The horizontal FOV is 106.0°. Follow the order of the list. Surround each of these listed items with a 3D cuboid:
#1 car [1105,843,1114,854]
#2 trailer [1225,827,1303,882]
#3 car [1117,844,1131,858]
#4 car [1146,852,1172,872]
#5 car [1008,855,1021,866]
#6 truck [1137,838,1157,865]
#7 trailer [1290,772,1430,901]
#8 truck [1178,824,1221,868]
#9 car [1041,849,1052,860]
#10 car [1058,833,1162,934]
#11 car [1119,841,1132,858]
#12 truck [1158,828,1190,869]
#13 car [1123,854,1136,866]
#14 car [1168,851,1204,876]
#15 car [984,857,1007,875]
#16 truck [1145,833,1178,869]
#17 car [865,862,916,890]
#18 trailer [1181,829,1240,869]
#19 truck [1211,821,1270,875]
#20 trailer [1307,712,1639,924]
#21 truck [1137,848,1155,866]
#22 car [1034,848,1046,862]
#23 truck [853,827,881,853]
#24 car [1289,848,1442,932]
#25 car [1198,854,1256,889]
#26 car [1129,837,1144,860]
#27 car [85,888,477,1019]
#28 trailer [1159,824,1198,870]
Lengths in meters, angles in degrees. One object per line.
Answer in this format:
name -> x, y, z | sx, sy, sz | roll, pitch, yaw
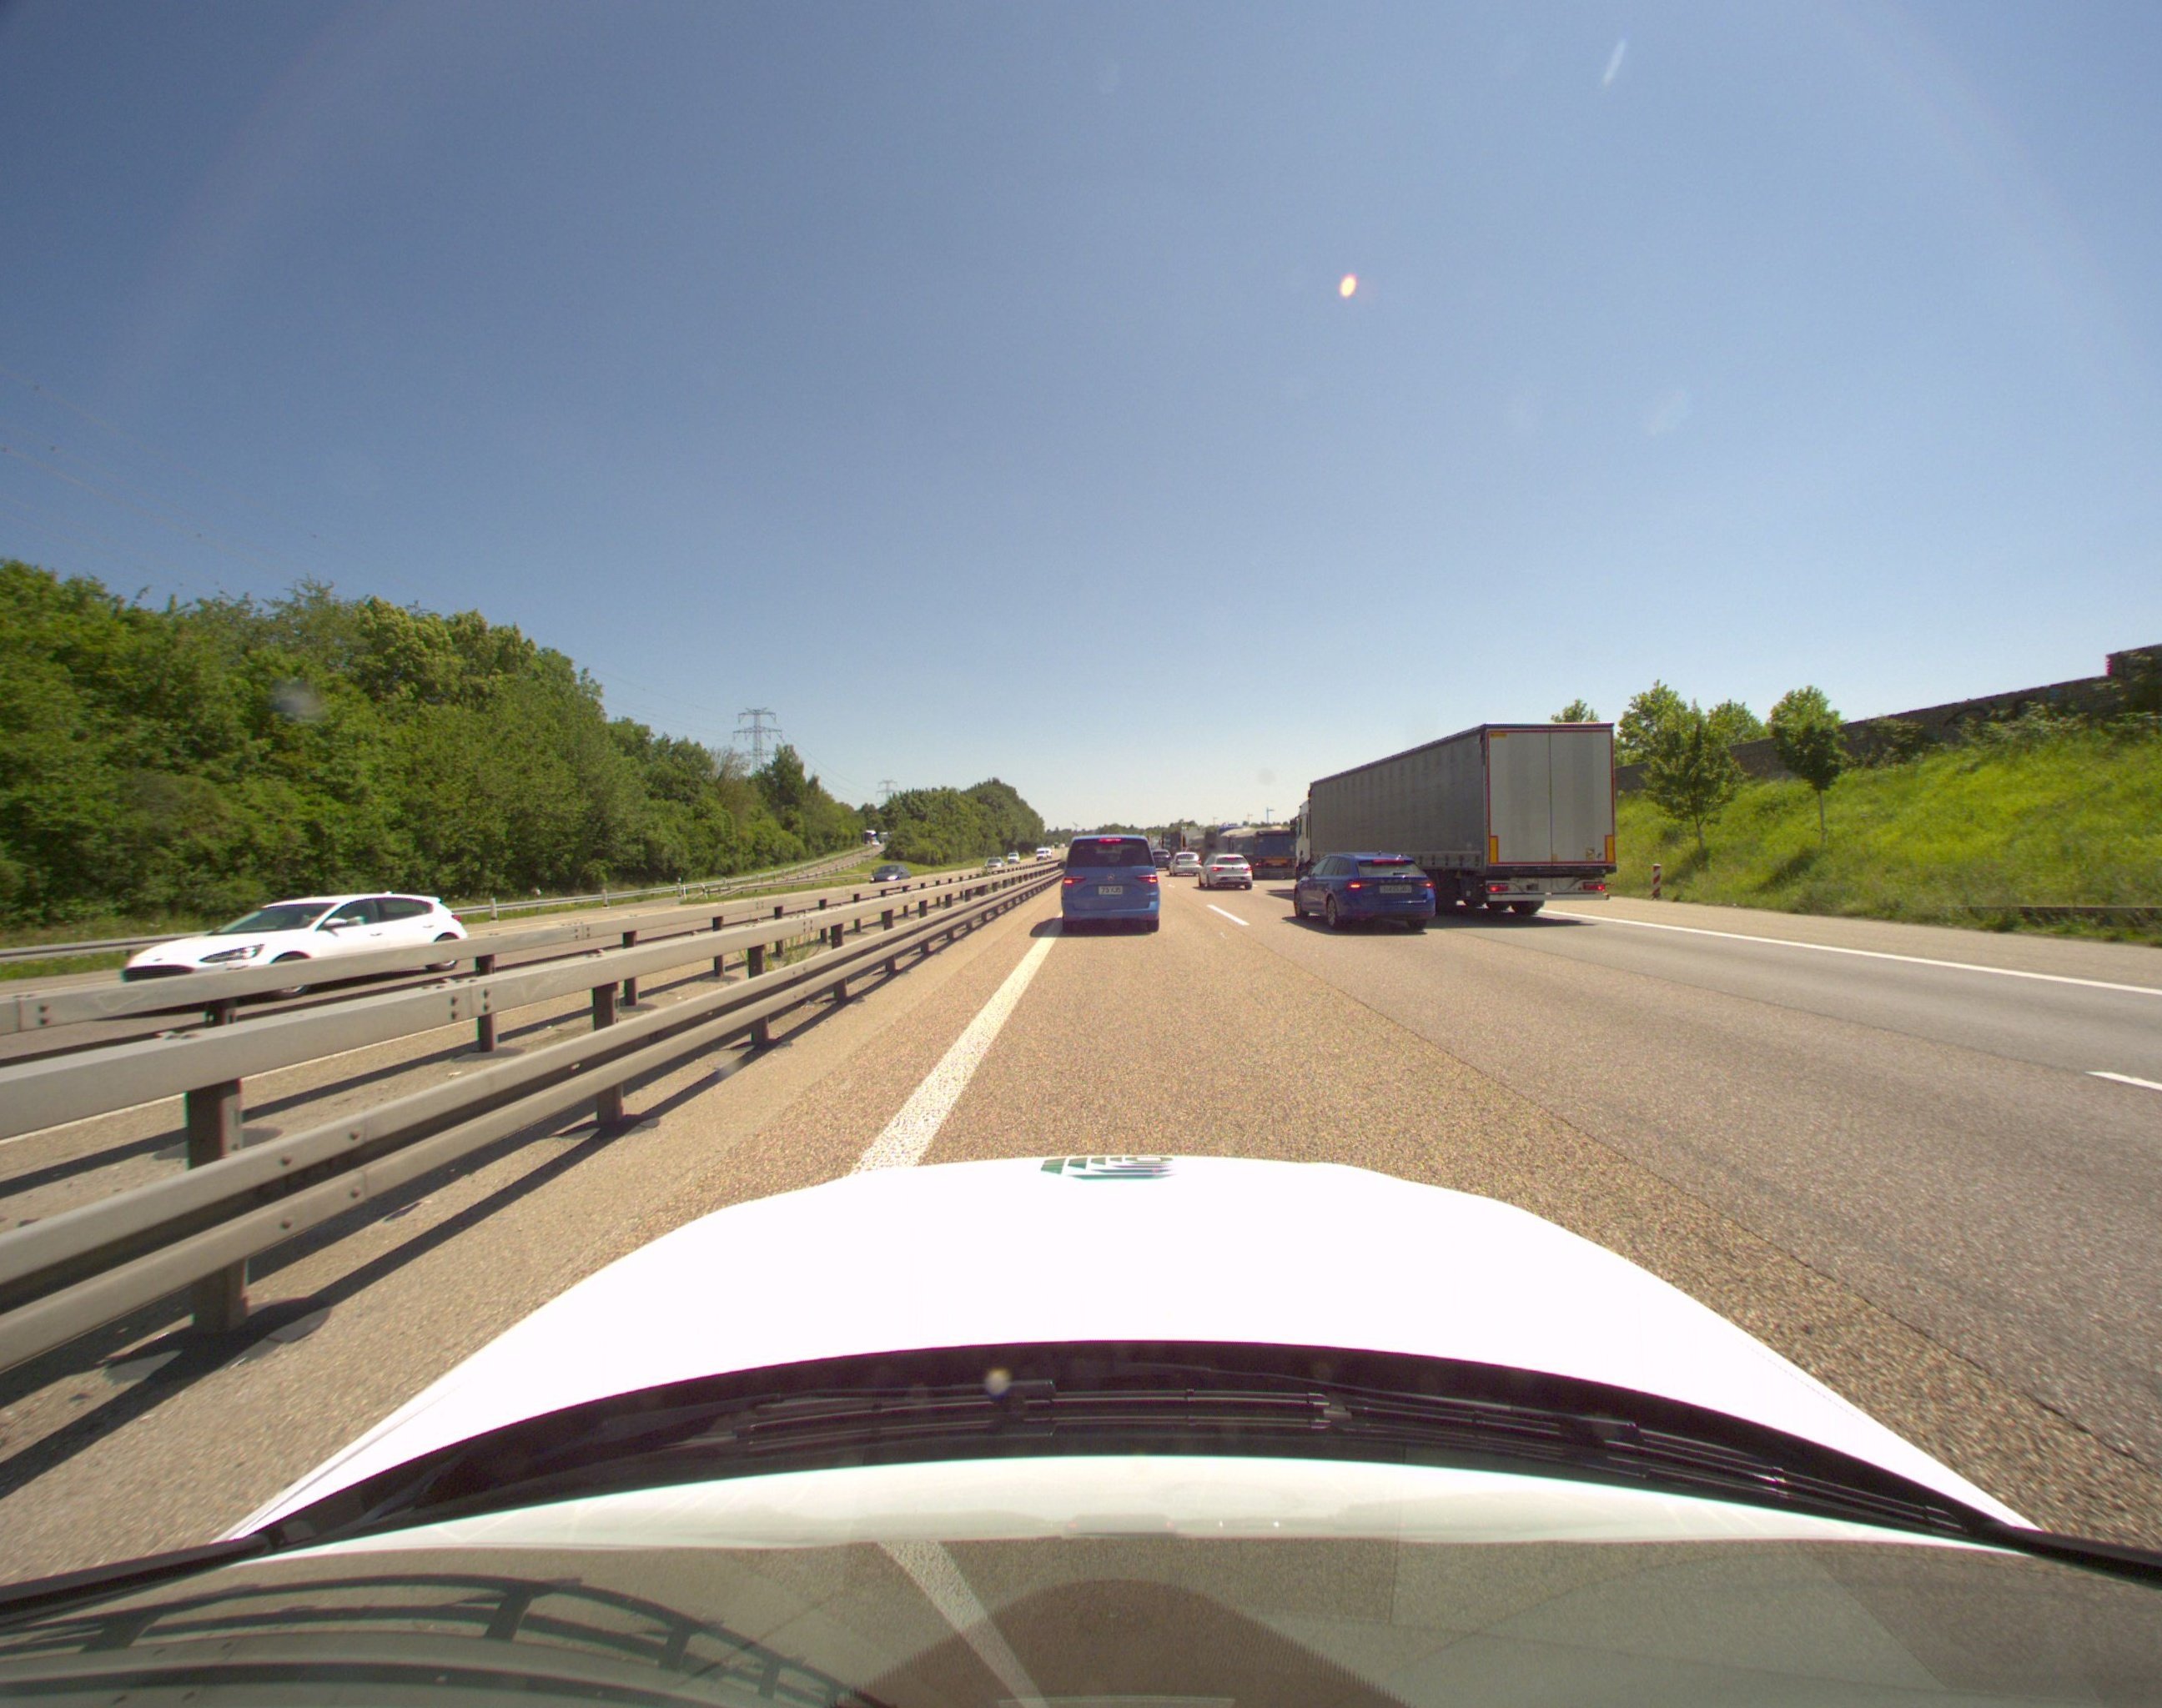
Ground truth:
car -> 9.213, -1.804, 264.266 | 2.479, 3.204, 7.367 | 0, -1, -1
trailer -> 10.242, -0.045, 46.565 | 2.733, 2.836, 9.120 | -1, 1, 2
car -> 8.458, -0.523, 159.113 | 2.541, 2.717, 5.623 | -1, -1, 1
car -> 6.278, 0.621, 65.646 | 1.774, 1.524, 4.001 | -1, -1, 1
car -> -12.163, 1.273, 149.684 | 1.858, 1.904, 5.492 | -4, -1, 0
truck -> 12.404, -0.449, 153.842 | 3.057, 4.920, 10.693 | -1, -1, 1
trailer -> 9.688, -0.582, 29.070 | 2.913, 4.044, 6.413 | -1, 0, 2
truck -> 11.682, -0.701, 81.220 | 3.610, 4.094, 7.530 | -1, -1, 3
car -> -8.542, 0.026, 203.051 | 2.148, 2.594, 5.891 | -3, -1, 1
car -> 0.635, 0.570, 16.984 | 1.893, 1.838, 4.003 | -1, -1, 3
car -> 13.560, -1.329, 247.922 | 3.210, 5.257, 8.136 | 0, -1, -2
truck -> 11.981, -0.668, 105.594 | 3.646, 5.180, 5.709 | -1, -1, 1
car -> 7.940, 0.997, 132.962 | 1.986, 2.014, 4.001 | -1, -1, 1
car -> 6.512, 0.586, 50.943 | 1.833, 1.454, 4.002 | -1, -1, 2
car -> -8.093, 1.118, 77.498 | 1.767, 1.631, 3.951 | -1, -1, 1
truck -> 12.110, -0.364, 124.231 | 3.609, 5.213, 15.687 | 0, -1, 0
car -> -11.175, 1.272, 48.039 | 1.870, 1.446, 4.145 | -3, -1, 1
trailer -> 11.244, -0.315, 72.534 | 3.631, 3.079, 15.784 | -1, -1, 3
truck -> 10.466, -0.400, 54.090 | 2.733, 3.311, 7.136 | -1, 1, 2
trailer -> 9.492, -0.699, 22.644 | 2.951, 4.049, 13.758 | -1, 0, 2
truck -> 6.767, 0.316, 85.297 | 1.719, 1.857, 4.001 | -1, -1, 1
car -> -8.715, 0.253, 172.852 | 2.045, 2.651, 5.839 | -3, -1, 1
truck -> -63.099, -3.964, 239.732 | 4.699, 7.228, 13.514 | 0, -1, -29
car -> 5.536, 0.653, 16.441 | 1.699, 1.441, 4.430 | -1, -1, 2
car -> 5.886, 0.671, 33.250 | 1.860, 1.361, 4.003 | -1, 0, 3
car -> 12.992, -1.209, 190.887 | 3.206, 5.257, 8.147 | -1, -1, 2
car -> -12.120, 1.391, 12.866 | 1.844, 1.467, 4.304 | -4, -1, 0
trailer -> 11.770, -0.736, 99.564 | 3.633, 5.136, 13.079 | -1, -1, 2
